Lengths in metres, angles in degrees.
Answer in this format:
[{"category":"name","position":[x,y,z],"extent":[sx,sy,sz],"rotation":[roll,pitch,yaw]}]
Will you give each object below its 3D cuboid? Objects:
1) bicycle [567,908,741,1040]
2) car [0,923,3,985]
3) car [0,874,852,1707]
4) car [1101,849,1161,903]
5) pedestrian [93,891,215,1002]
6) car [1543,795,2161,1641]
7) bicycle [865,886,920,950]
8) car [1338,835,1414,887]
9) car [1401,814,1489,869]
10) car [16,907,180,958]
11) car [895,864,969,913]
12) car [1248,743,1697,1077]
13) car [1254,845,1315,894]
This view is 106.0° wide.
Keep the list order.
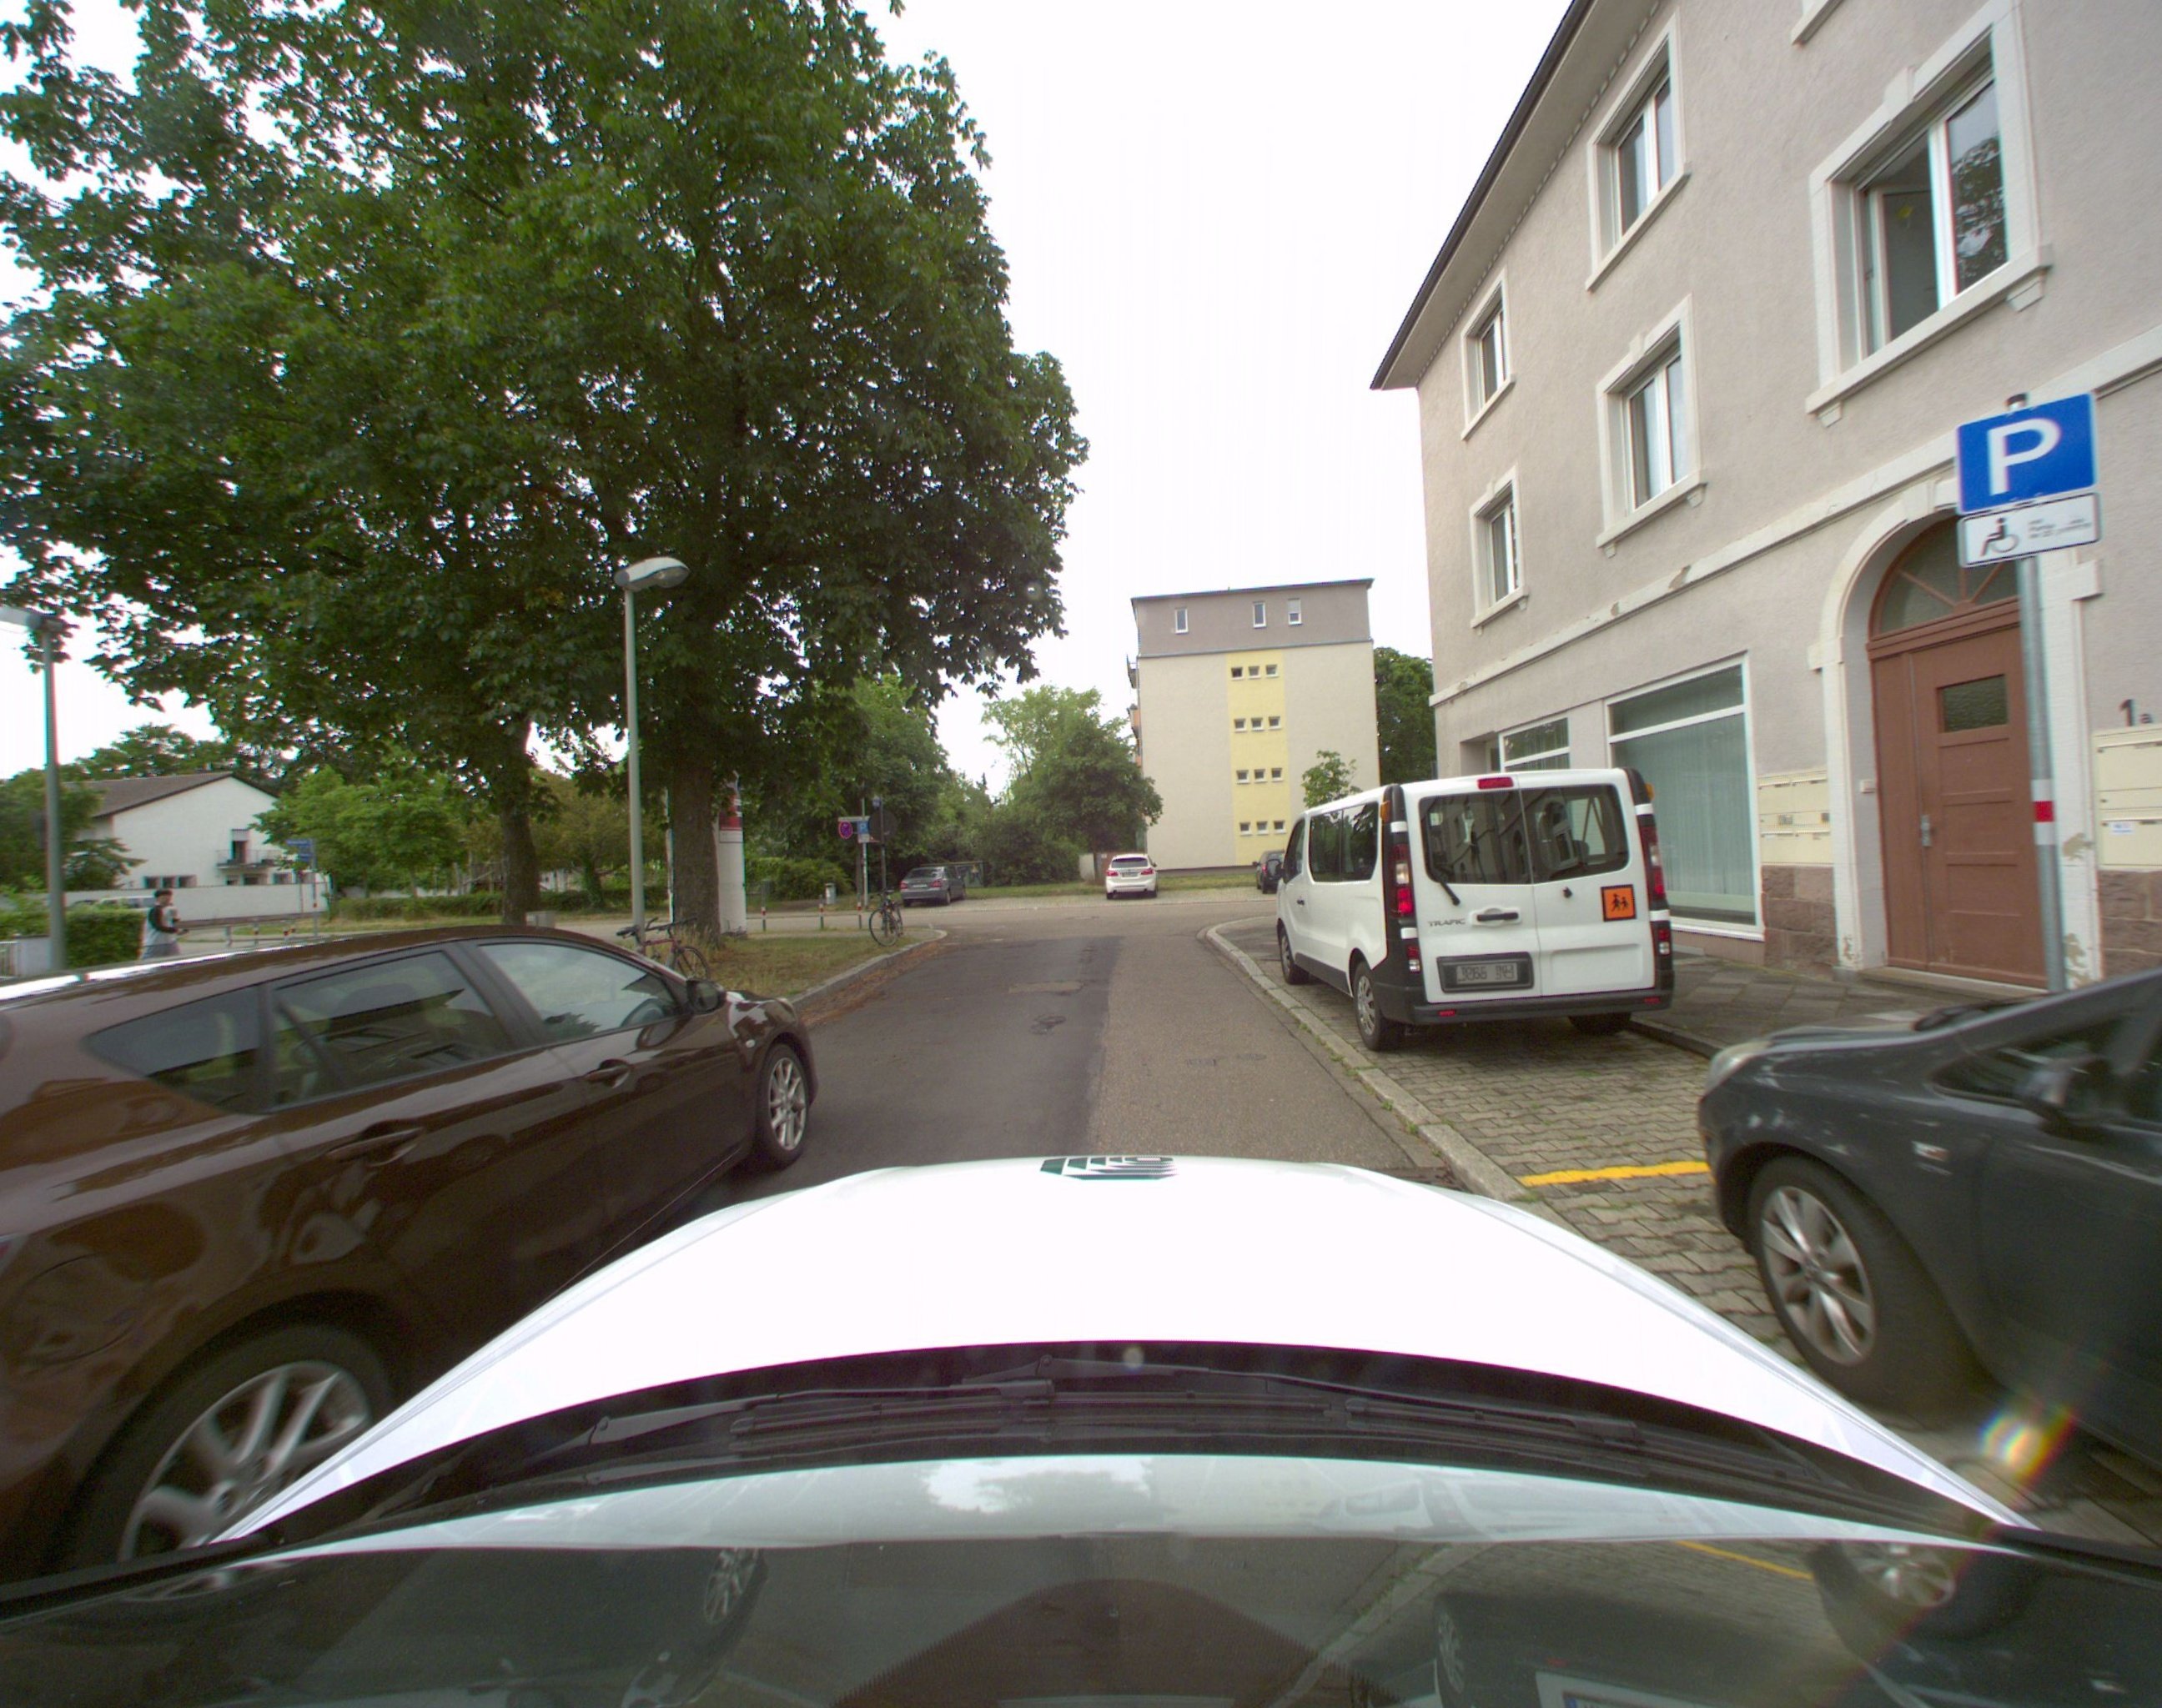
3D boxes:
[{"category":"bicycle","position":[-4.417,1.195,8.607],"extent":[0.663,1.066,1.887],"rotation":[-4,0,4]},{"category":"car","position":[-23.795,1.965,15.567],"extent":[3.971,1.610,1.844],"rotation":[-4,0,2]},{"category":"car","position":[-2.473,0.992,3.078],"extent":[1.704,1.458,4.165],"rotation":[-8,0,2]},{"category":"car","position":[1.926,0.750,30.114],"extent":[1.868,1.560,4.159],"rotation":[-2,4,7]},{"category":"pedestrian","position":[-16.939,1.649,14.929],"extent":[1.224,1.836,0.869],"rotation":[-3,0,-35]},{"category":"car","position":[2.737,0.627,1.254],"extent":[1.683,1.454,3.900],"rotation":[-6,0,-1]},{"category":"bicycle","position":[-3.489,1.152,15.208],"extent":[0.509,0.985,2.182],"rotation":[-1,1,0]},{"category":"car","position":[10.409,0.193,29.054],"extent":[1.823,1.565,4.371],"rotation":[-3,1,11]},{"category":"car","position":[12.684,-0.477,28.656],"extent":[1.898,1.697,4.082],"rotation":[-3,1,11]},{"category":"car","position":[-45.539,3.597,37.915],"extent":[1.985,1.859,4.498],"rotation":[-1,1,3]},{"category":"car","position":[-5.547,1.243,30.960],"extent":[1.668,1.454,4.564],"rotation":[-3,1,3]},{"category":"car","position":[3.017,0.332,7.716],"extent":[1.871,1.995,5.015],"rotation":[-5,0,2]},{"category":"car","position":[7.294,0.510,29.578],"extent":[1.823,1.463,4.575],"rotation":[-3,1,11]}]
